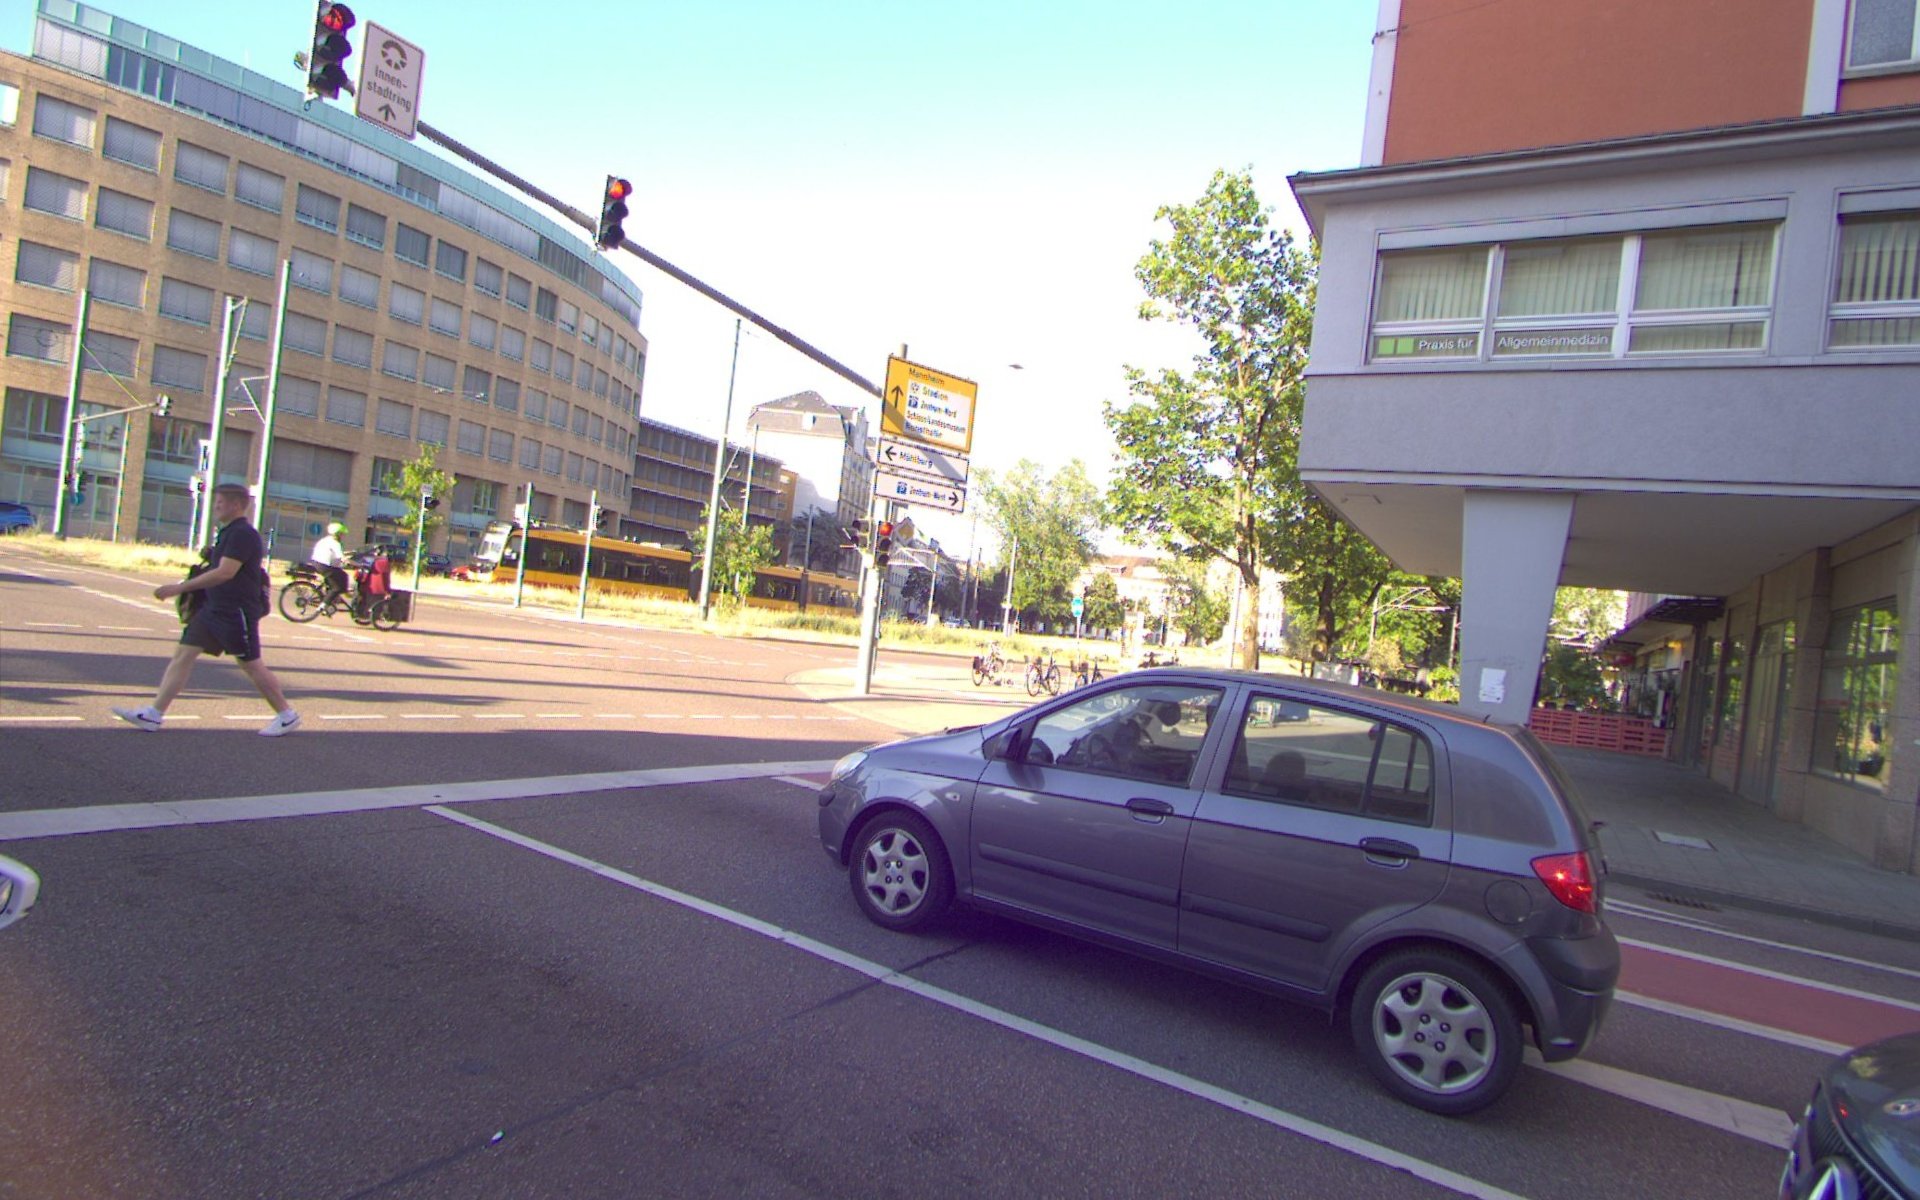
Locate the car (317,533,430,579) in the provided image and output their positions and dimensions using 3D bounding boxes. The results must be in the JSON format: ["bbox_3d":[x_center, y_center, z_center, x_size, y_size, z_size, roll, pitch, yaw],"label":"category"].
[{"bbox_3d":[-28.443,-2.102,48.902,1.967,1.634,4.234,7,-1,32],"label":"car"}]

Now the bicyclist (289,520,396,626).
[{"bbox_3d":[-9.846,-0.424,16.055,1.142,1.505,0.881,7,0,29],"label":"bicyclist"}]

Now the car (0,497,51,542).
[{"bbox_3d":[-37.359,-3.258,37.822,1.965,1.520,4.238,7,-1,28],"label":"car"}]

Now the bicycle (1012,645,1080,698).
[{"bbox_3d":[2.097,1.720,24.331,0.730,1.130,2.089,7,0,29],"label":"bicycle"}]

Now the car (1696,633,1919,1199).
[{"bbox_3d":[3.263,1.103,0.504,4.403,1.652,1.787,7,0,30],"label":"car"}]

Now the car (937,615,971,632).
[{"bbox_3d":[-0.763,2.870,124.103,1.971,1.609,3.983,7,-1,40],"label":"car"}]

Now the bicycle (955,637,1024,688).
[{"bbox_3d":[0.751,1.564,25.034,0.730,1.130,2.089,7,0,29],"label":"bicycle"}]

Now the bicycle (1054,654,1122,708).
[{"bbox_3d":[3.024,1.885,23.548,0.730,1.130,2.089,7,0,29],"label":"bicycle"}]

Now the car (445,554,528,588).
[{"bbox_3d":[-25.571,-1.545,54.395,1.693,1.358,3.613,7,-1,31],"label":"car"}]

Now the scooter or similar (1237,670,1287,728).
[{"bbox_3d":[6.979,2.298,23.227,1.130,1.260,0.424,5,1,-39],"label":"scooter or similar"}]

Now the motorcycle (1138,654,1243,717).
[{"bbox_3d":[5.863,2.156,25.617,2.361,1.256,0.855,7,0,28],"label":"motorcycle"}]

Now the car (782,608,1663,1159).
[{"bbox_3d":[1.102,1.025,4.937,3.586,1.463,1.588,7,-2,31],"label":"car"}]

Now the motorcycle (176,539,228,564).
[{"bbox_3d":[-35.773,-2.287,47.494,0.515,0.965,1.820,7,-1,30],"label":"motorcycle"}]

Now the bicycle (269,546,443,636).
[{"bbox_3d":[-9.753,-0.120,16.328,1.142,1.182,2.047,7,0,29],"label":"bicycle"}]

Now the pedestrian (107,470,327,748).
[{"bbox_3d":[-5.189,0.074,7.052,0.659,1.790,0.945,7,0,35],"label":"pedestrian"}]

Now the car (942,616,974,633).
[{"bbox_3d":[-0.243,3.149,129.302,1.971,1.609,3.983,7,-1,40],"label":"car"}]

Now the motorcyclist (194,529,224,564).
[{"bbox_3d":[-35.612,-2.546,47.709,0.515,1.529,0.882,7,0,30],"label":"motorcyclist"}]

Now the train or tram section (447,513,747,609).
[{"bbox_3d":[-19.152,-1.853,55.768,3.637,3.215,17.132,7,-1,30],"label":"train or tram section"}]

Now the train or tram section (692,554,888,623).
[{"bbox_3d":[-11.342,-0.520,71.971,3.632,3.215,19.957,7,-1,22],"label":"train or tram section"}]

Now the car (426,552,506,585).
[{"bbox_3d":[-27.608,-1.727,56.281,1.693,1.358,3.614,7,-1,30],"label":"car"}]
